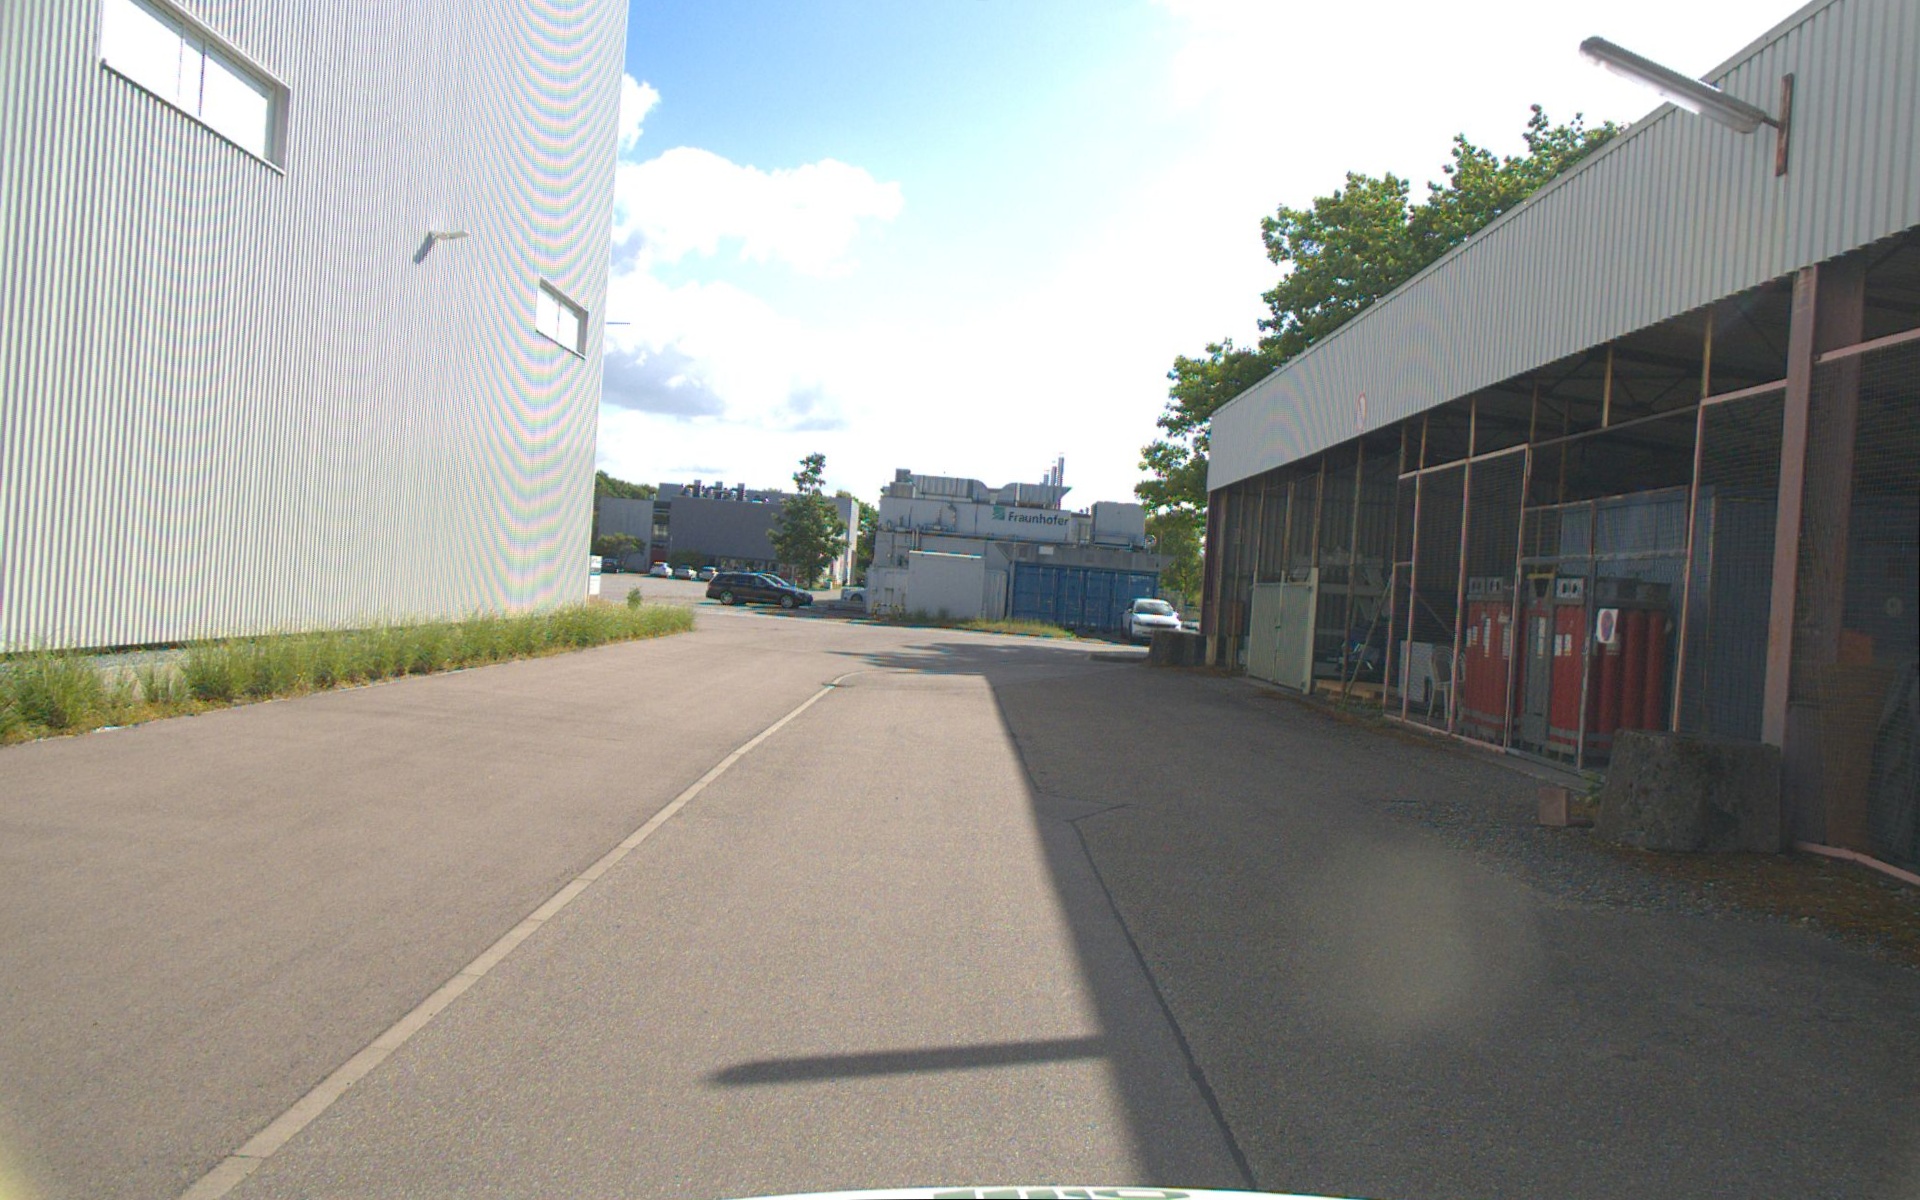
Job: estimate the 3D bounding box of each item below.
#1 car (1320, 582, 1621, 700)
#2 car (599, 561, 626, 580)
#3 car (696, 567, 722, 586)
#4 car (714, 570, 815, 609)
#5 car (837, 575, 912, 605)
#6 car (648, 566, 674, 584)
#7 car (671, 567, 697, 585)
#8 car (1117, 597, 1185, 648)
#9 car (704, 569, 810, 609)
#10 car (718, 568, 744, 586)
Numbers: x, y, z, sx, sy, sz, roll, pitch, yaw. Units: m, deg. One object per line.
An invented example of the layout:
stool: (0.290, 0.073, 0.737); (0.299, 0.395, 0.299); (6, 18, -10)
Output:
car: (9.861, 0.775, 32.155); (5.137, 1.909, 1.998); (4, 0, -6)
car: (-35.973, -3.034, 171.247); (1.953, 1.766, 3.999); (2, 0, -1)
car: (-26.081, -2.426, 171.865); (2.149, 1.766, 3.999); (2, 0, -1)
car: (-9.232, -0.489, 78.190); (4.433, 1.534, 1.909); (3, 0, 1)
car: (-5.278, -0.636, 102.602); (4.434, 1.534, 1.909); (4, 0, 0)
car: (-31.058, -2.605, 171.809); (1.953, 1.766, 3.999); (2, 0, -1)
car: (-28.611, -2.502, 171.489); (1.953, 1.766, 3.999); (2, 0, -1)
car: (7.169, 0.808, 62.409); (1.953, 1.613, 4.173); (4, 2, -1)
car: (-9.178, -0.489, 74.954); (4.433, 1.534, 1.909); (3, 0, 1)
car: (-23.566, -2.352, 170.187); (2.149, 1.766, 3.999); (2, 0, -1)
